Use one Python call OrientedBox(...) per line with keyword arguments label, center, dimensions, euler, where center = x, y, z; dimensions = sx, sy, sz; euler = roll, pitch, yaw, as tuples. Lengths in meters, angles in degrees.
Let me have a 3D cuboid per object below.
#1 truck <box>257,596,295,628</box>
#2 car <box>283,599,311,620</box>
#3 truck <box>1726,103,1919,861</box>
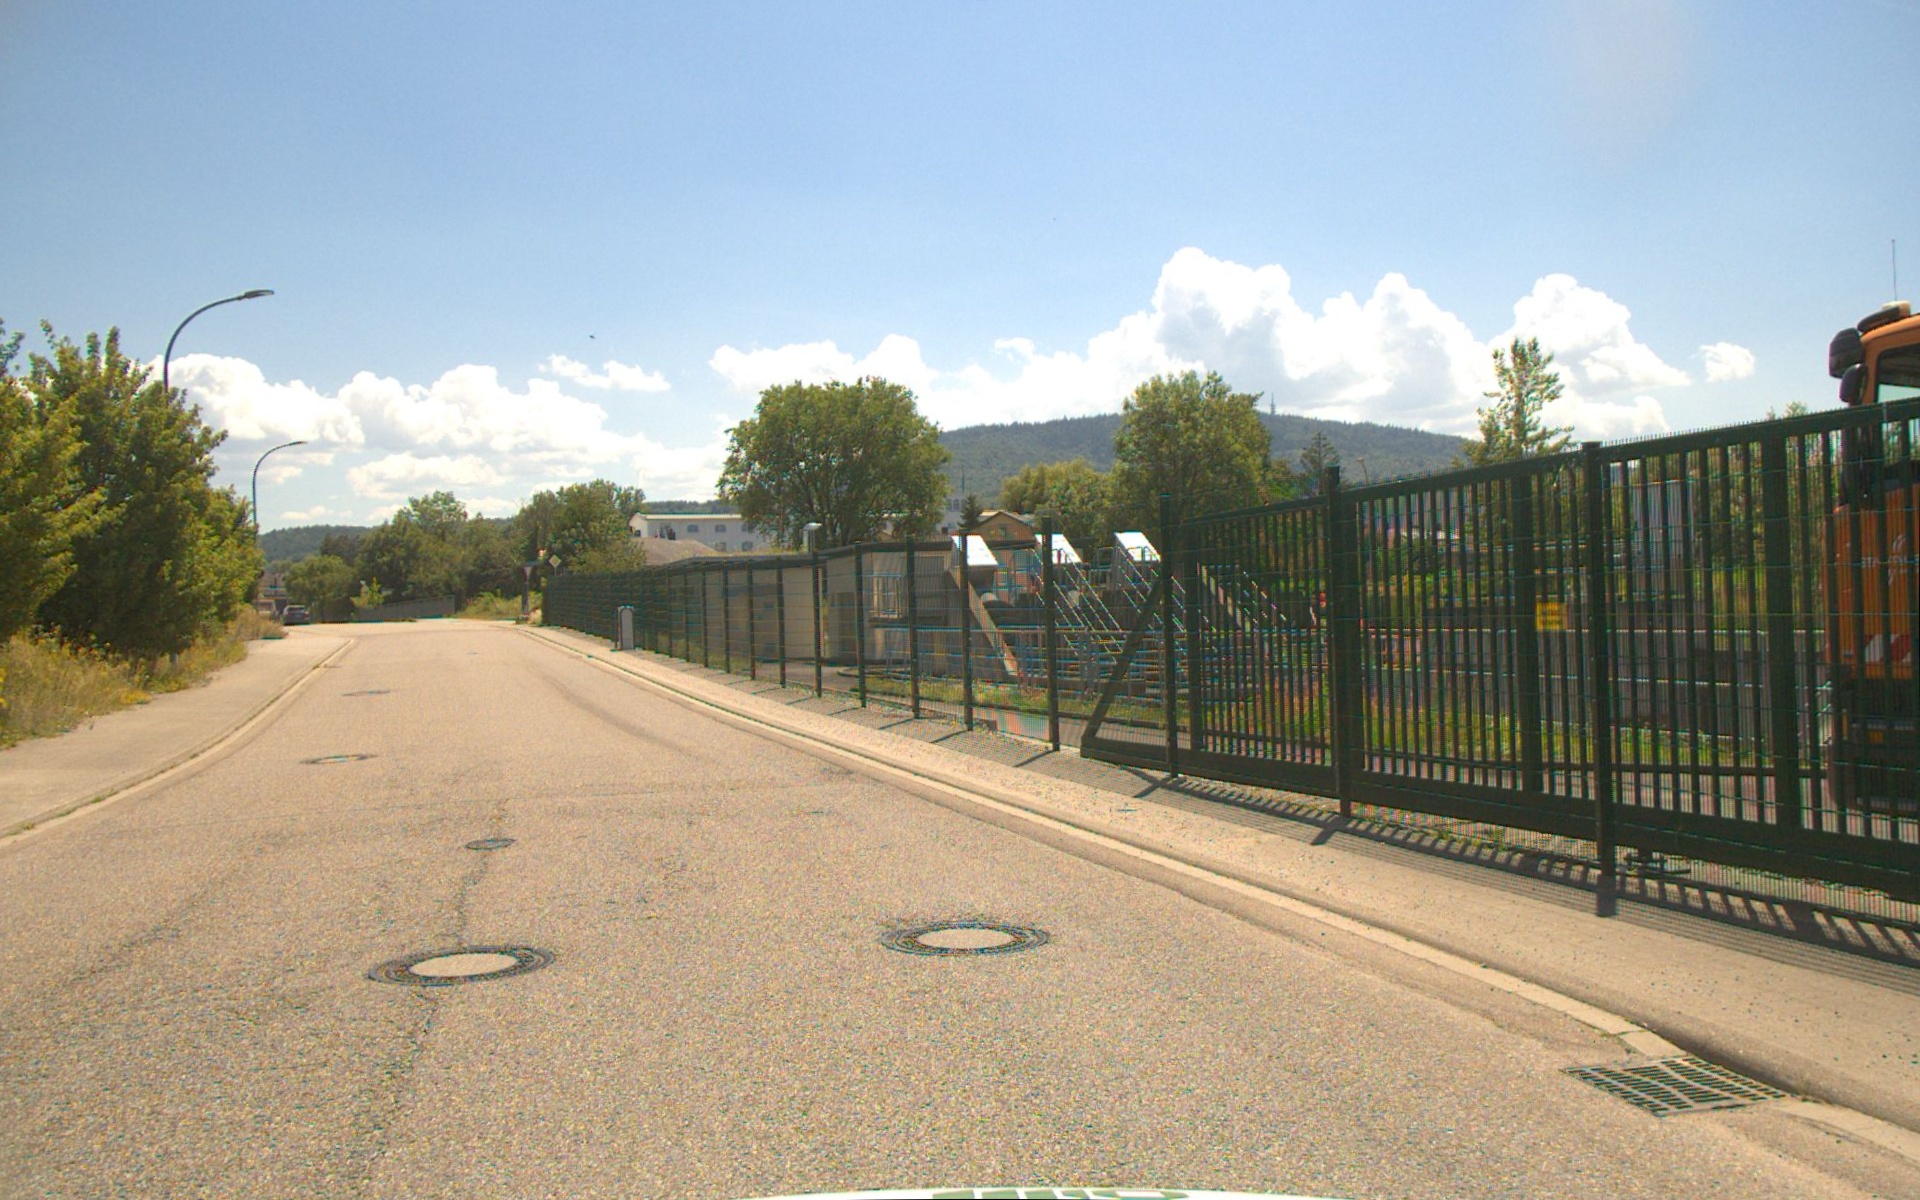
OrientedBox(label="truck", center=(-63.601, 1.072, 153.736), dimensions=(2.653, 2.821, 6.031), euler=(-1, 1, -29))
OrientedBox(label="car", center=(-48.808, 0.707, 121.707), dimensions=(1.753, 1.473, 3.425), euler=(-1, 0, -25))
OrientedBox(label="truck", center=(8.131, -0.741, 6.521), dimensions=(4.101, 3.872, 8.539), euler=(-2, 0, -26))
